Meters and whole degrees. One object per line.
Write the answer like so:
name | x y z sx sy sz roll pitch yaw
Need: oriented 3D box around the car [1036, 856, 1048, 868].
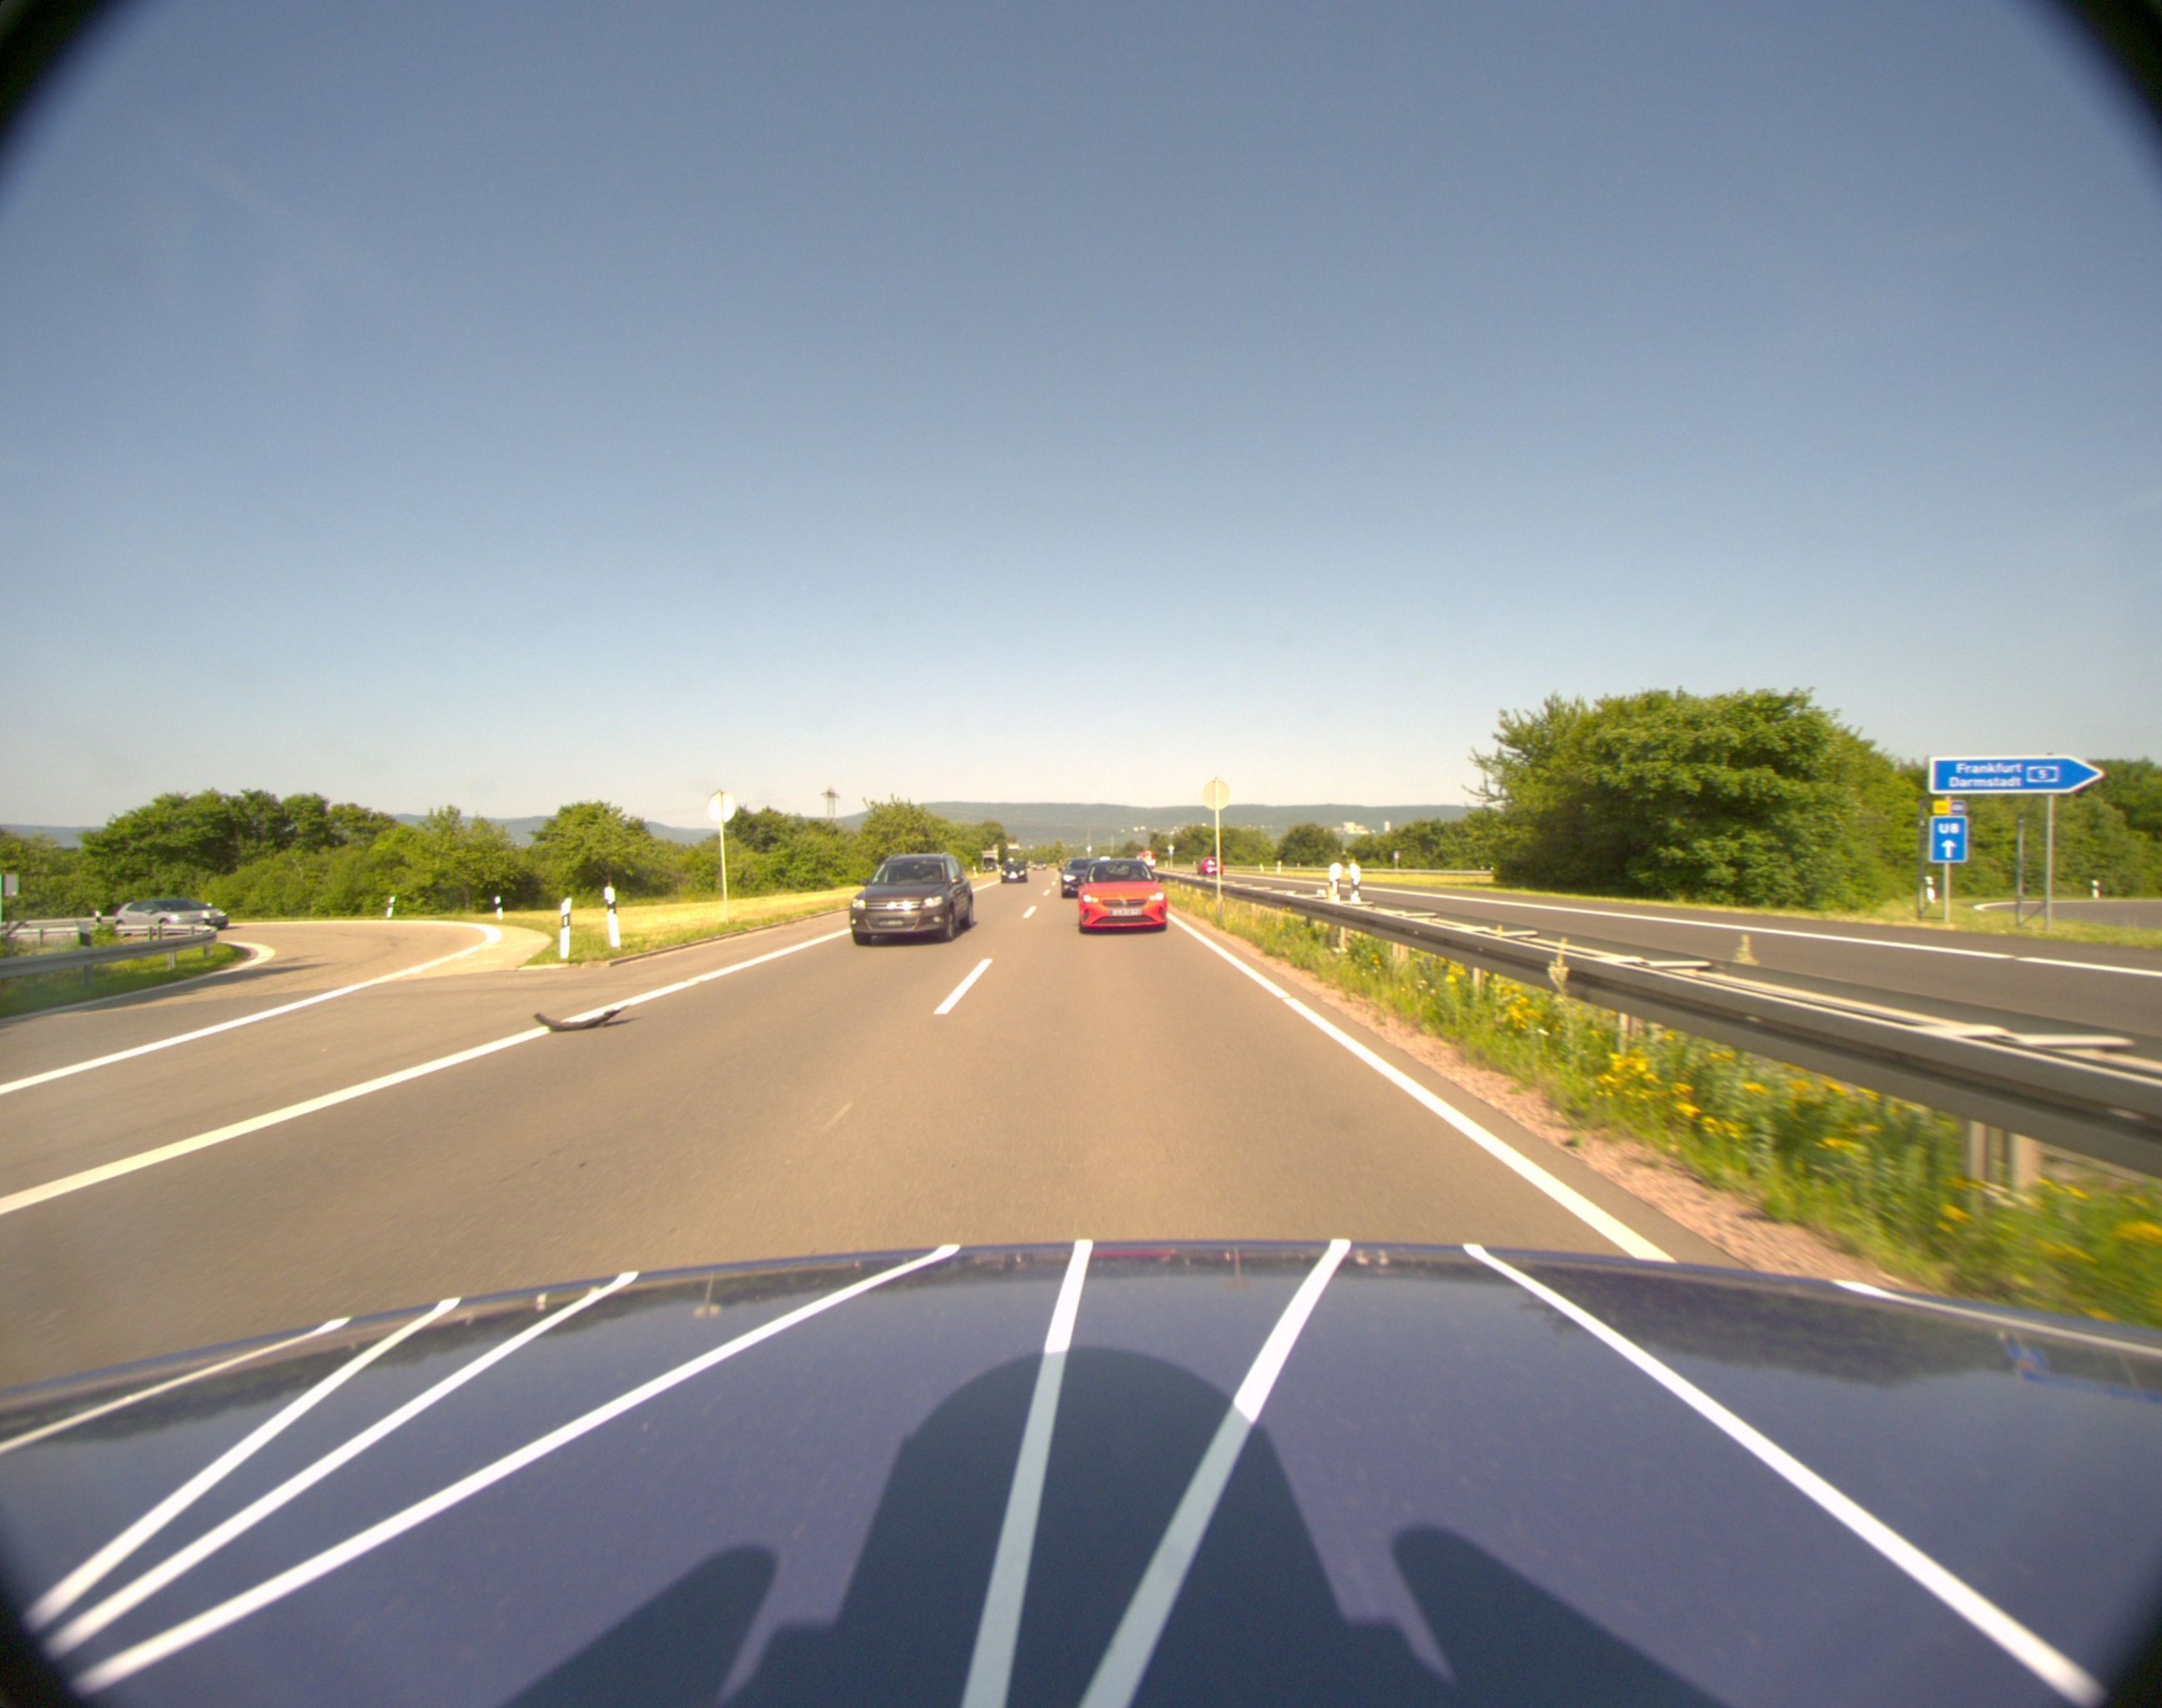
car | -5.779 1.117 113.198 1.768 1.652 3.999 -2 1 -2

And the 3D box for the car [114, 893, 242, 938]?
car | -39.371 2.636 33.170 3.993 1.657 1.866 0 4 13

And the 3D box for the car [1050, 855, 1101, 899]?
car | -0.140 0.834 29.135 1.788 1.524 4.375 -2 0 1

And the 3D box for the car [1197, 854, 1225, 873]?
car | 10.741 0.793 63.111 1.633 1.449 3.768 -1 -1 0

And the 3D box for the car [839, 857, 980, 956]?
car | -3.275 0.924 15.340 1.790 1.637 4.147 -2 1 1

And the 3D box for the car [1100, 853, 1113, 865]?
car | 4.483 0.854 134.507 1.999 2.002 4.517 -2 1 -1

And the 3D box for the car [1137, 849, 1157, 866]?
car | 9.393 0.482 108.104 2.120 2.361 5.880 -2 1 -1

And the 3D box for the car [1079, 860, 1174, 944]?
car | 0.900 0.912 16.253 1.713 1.429 4.412 -2 1 1

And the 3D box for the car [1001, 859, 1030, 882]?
car | -4.198 1.034 48.985 1.601 1.241 3.999 -2 1 -2
